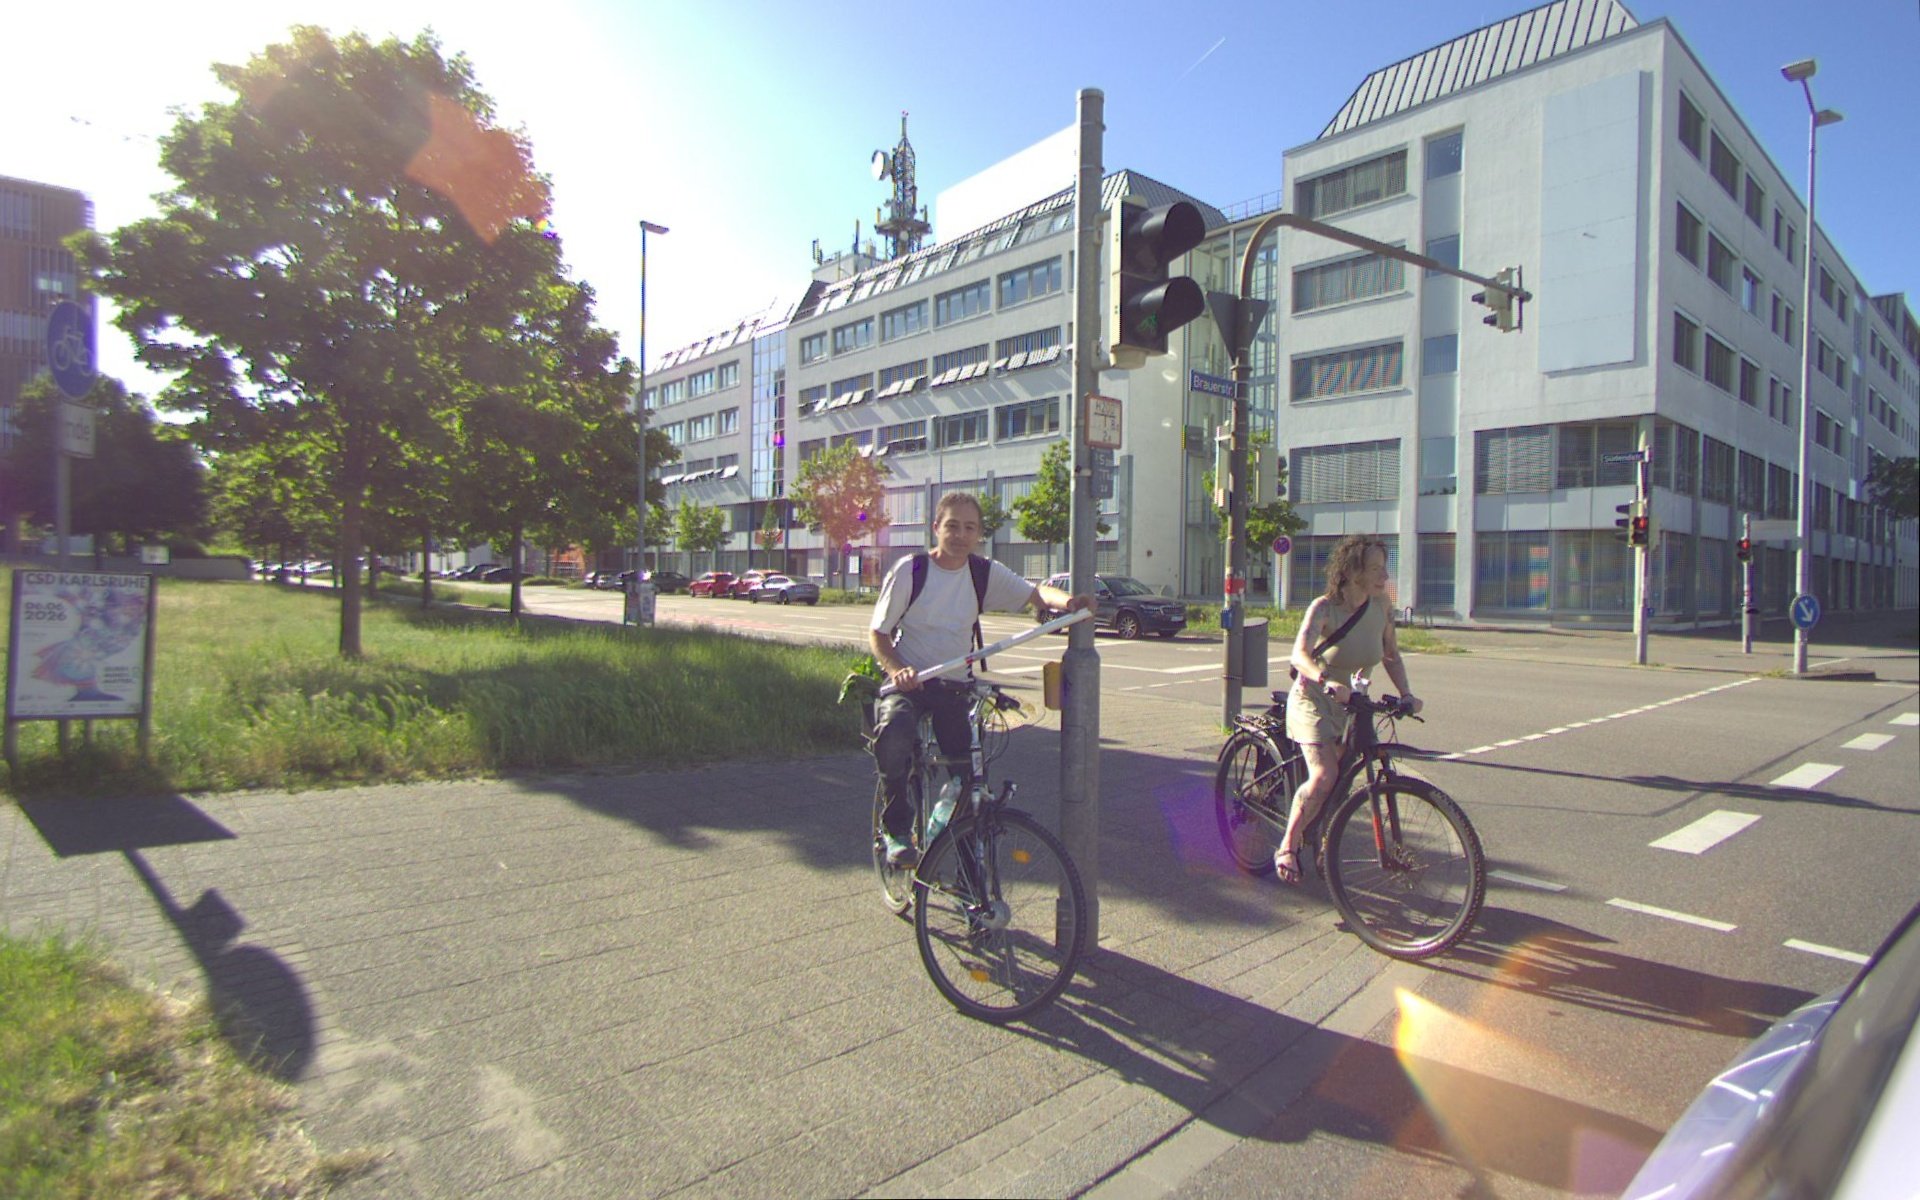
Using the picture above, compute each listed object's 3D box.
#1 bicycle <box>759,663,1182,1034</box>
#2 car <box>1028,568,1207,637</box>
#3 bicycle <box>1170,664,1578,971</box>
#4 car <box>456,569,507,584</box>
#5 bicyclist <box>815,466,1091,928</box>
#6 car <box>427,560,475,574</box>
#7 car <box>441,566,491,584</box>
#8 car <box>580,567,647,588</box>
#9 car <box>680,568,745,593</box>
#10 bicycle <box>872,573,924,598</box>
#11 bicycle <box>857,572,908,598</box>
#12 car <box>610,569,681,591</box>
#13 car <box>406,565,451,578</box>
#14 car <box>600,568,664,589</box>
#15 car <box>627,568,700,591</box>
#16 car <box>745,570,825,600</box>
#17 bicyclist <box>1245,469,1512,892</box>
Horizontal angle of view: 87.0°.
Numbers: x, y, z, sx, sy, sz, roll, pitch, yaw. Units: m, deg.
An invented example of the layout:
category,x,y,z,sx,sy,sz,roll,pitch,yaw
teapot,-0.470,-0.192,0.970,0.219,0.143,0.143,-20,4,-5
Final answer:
category,x,y,z,sx,sy,sz,roll,pitch,yaw
bicycle,-0.071,0.829,4.124,0.839,0.976,1.830,0,1,-33
car,4.096,-0.009,27.044,1.964,1.642,4.628,-1,2,-39
bicycle,1.780,0.867,4.736,0.800,0.976,1.833,1,1,-15
car,-47.779,-2.310,101.076,4.214,1.438,1.916,0,2,-42
bicyclist,-0.038,0.332,4.078,0.833,1.620,0.715,0,1,-34
car,-54.269,-3.536,108.002,4.214,1.438,1.916,0,2,-42
car,-50.104,-2.551,102.683,4.213,1.777,1.916,0,1,-41
car,-25.235,-1.608,73.771,4.214,1.438,1.916,0,2,-42
car,-14.777,-1.183,60.326,1.887,1.438,4.278,0,2,-43
bicycle,-3.493,-0.829,56.765,0.972,1.365,3.531,0,1,-40
bicycle,-4.326,-0.820,56.145,0.972,1.365,3.531,0,1,-40
car,-21.217,-1.355,68.330,4.214,1.438,1.916,0,2,-42
car,-60.219,-3.217,114.673,4.214,1.438,1.916,0,2,-42
car,-23.093,-1.488,71.349,3.941,1.438,1.657,0,1,-42
car,-19.352,-1.346,66.191,4.214,1.438,1.916,0,2,-42
car,-8.768,-0.773,50.571,1.887,1.438,4.278,0,2,-43
bicyclist,1.843,0.321,4.535,0.800,1.712,0.717,1,1,-15
